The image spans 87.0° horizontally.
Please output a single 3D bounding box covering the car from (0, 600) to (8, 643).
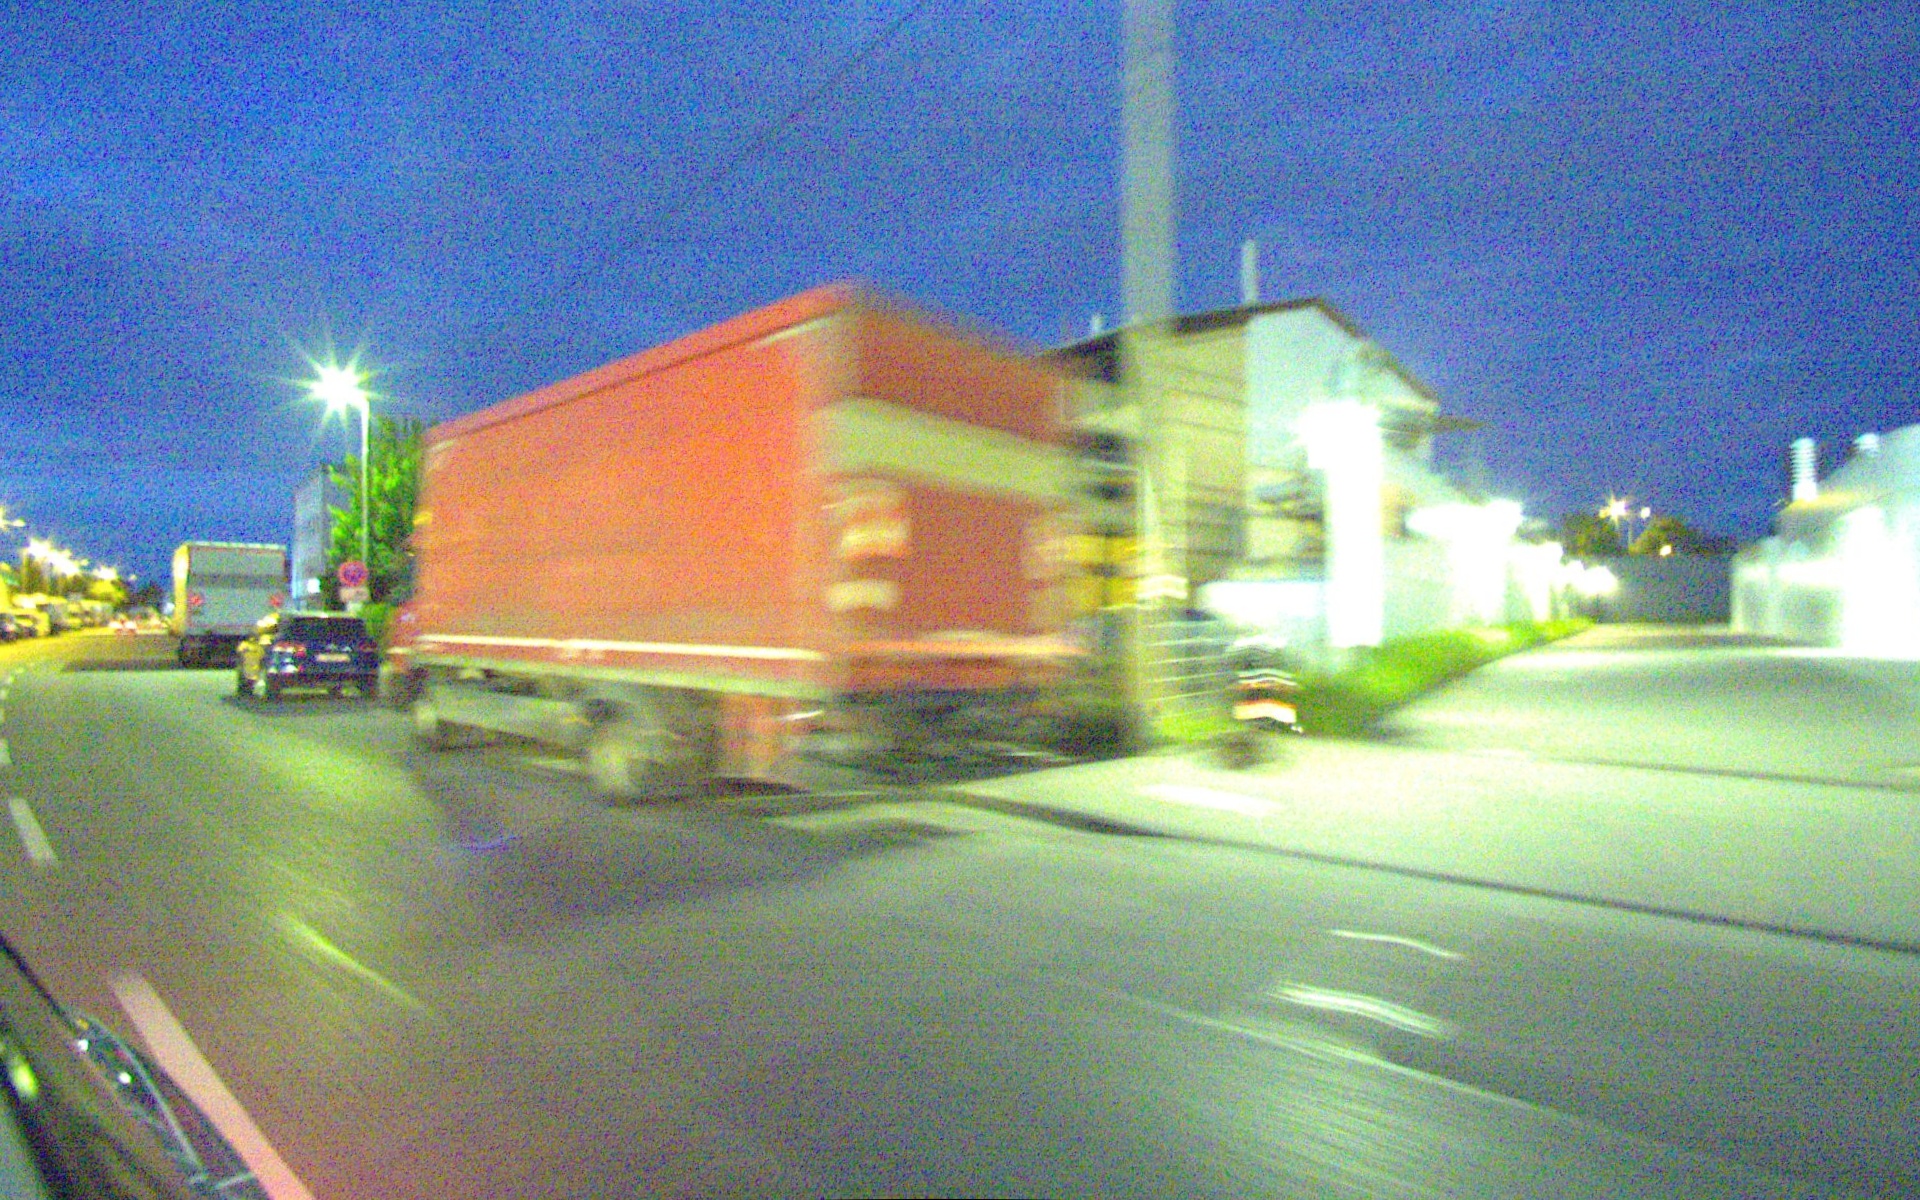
[{"bbox_3d":[-60.774,1.429,62.878,2.102,2.590,5.917,-3,1,-41],"label":"car"}]

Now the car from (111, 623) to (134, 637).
[{"bbox_3d":[-86.767,3.072,104.888,1.834,1.431,4.007,0,-1,-40],"label":"car"}]

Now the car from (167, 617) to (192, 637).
[{"bbox_3d":[-74.036,2.528,95.962,1.781,1.812,4.887,0,-2,-38],"label":"car"}]

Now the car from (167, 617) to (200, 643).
[{"bbox_3d":[-57.994,2.243,75.565,1.790,1.863,4.422,1,-1,-40],"label":"car"}]

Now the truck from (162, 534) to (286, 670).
[{"bbox_3d":[-25.507,0.144,34.842,2.712,4.065,9.574,0,-1,-41],"label":"truck"}]

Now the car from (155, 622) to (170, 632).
[{"bbox_3d":[-119.498,3.999,151.620,1.665,1.375,3.887,-1,0,-38],"label":"car"}]

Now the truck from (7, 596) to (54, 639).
[{"bbox_3d":[-85.346,1.553,93.035,2.730,3.792,5.238,-1,0,-38],"label":"truck"}]

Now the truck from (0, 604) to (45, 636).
[{"bbox_3d":[-79.100,1.710,85.311,2.370,2.614,6.611,0,-1,-37],"label":"truck"}]

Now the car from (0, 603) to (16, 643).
[{"bbox_3d":[-65.217,1.611,68.096,1.968,2.590,6.025,-3,1,-39],"label":"car"}]

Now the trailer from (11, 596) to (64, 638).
[{"bbox_3d":[-89.550,1.624,98.416,2.730,3.792,14.684,-1,0,-38],"label":"trailer"}]

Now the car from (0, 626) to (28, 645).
[{"bbox_3d":[-74.763,2.791,79.556,1.807,1.418,4.917,-3,1,-39],"label":"car"}]

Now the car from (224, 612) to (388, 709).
[{"bbox_3d":[-13.400,1.130,20.595,1.920,1.730,5.203,1,-2,-43],"label":"car"}]

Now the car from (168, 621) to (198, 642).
[{"bbox_3d":[-67.105,2.700,87.434,1.921,1.701,4.826,0,-2,-37],"label":"car"}]

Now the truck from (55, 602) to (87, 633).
[{"bbox_3d":[-119.350,2.369,135.880,2.755,4.000,9.838,-1,-1,-39],"label":"truck"}]

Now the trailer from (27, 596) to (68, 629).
[{"bbox_3d":[-101.708,1.481,112.937,2.841,3.551,8.299,0,-2,-38],"label":"trailer"}]

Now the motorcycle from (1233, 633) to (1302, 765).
[{"bbox_3d":[3.103,0.952,10.300,0.526,1.109,1.686,0,2,12],"label":"motorcycle"}]

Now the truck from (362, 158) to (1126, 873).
[{"bbox_3d":[-3.014,-0.415,10.121,9.344,4.152,2.741,-1,-2,44],"label":"truck"}]

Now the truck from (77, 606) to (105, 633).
[{"bbox_3d":[-146.228,3.258,170.333,3.024,4.508,5.649,-1,0,-35],"label":"truck"}]

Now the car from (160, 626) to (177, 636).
[{"bbox_3d":[-107.323,4.199,137.205,1.734,1.401,4.317,0,-2,-37],"label":"car"}]

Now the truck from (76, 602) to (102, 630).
[{"bbox_3d":[-138.864,2.605,161.389,2.619,3.904,10.249,-1,-2,-38],"label":"truck"}]
